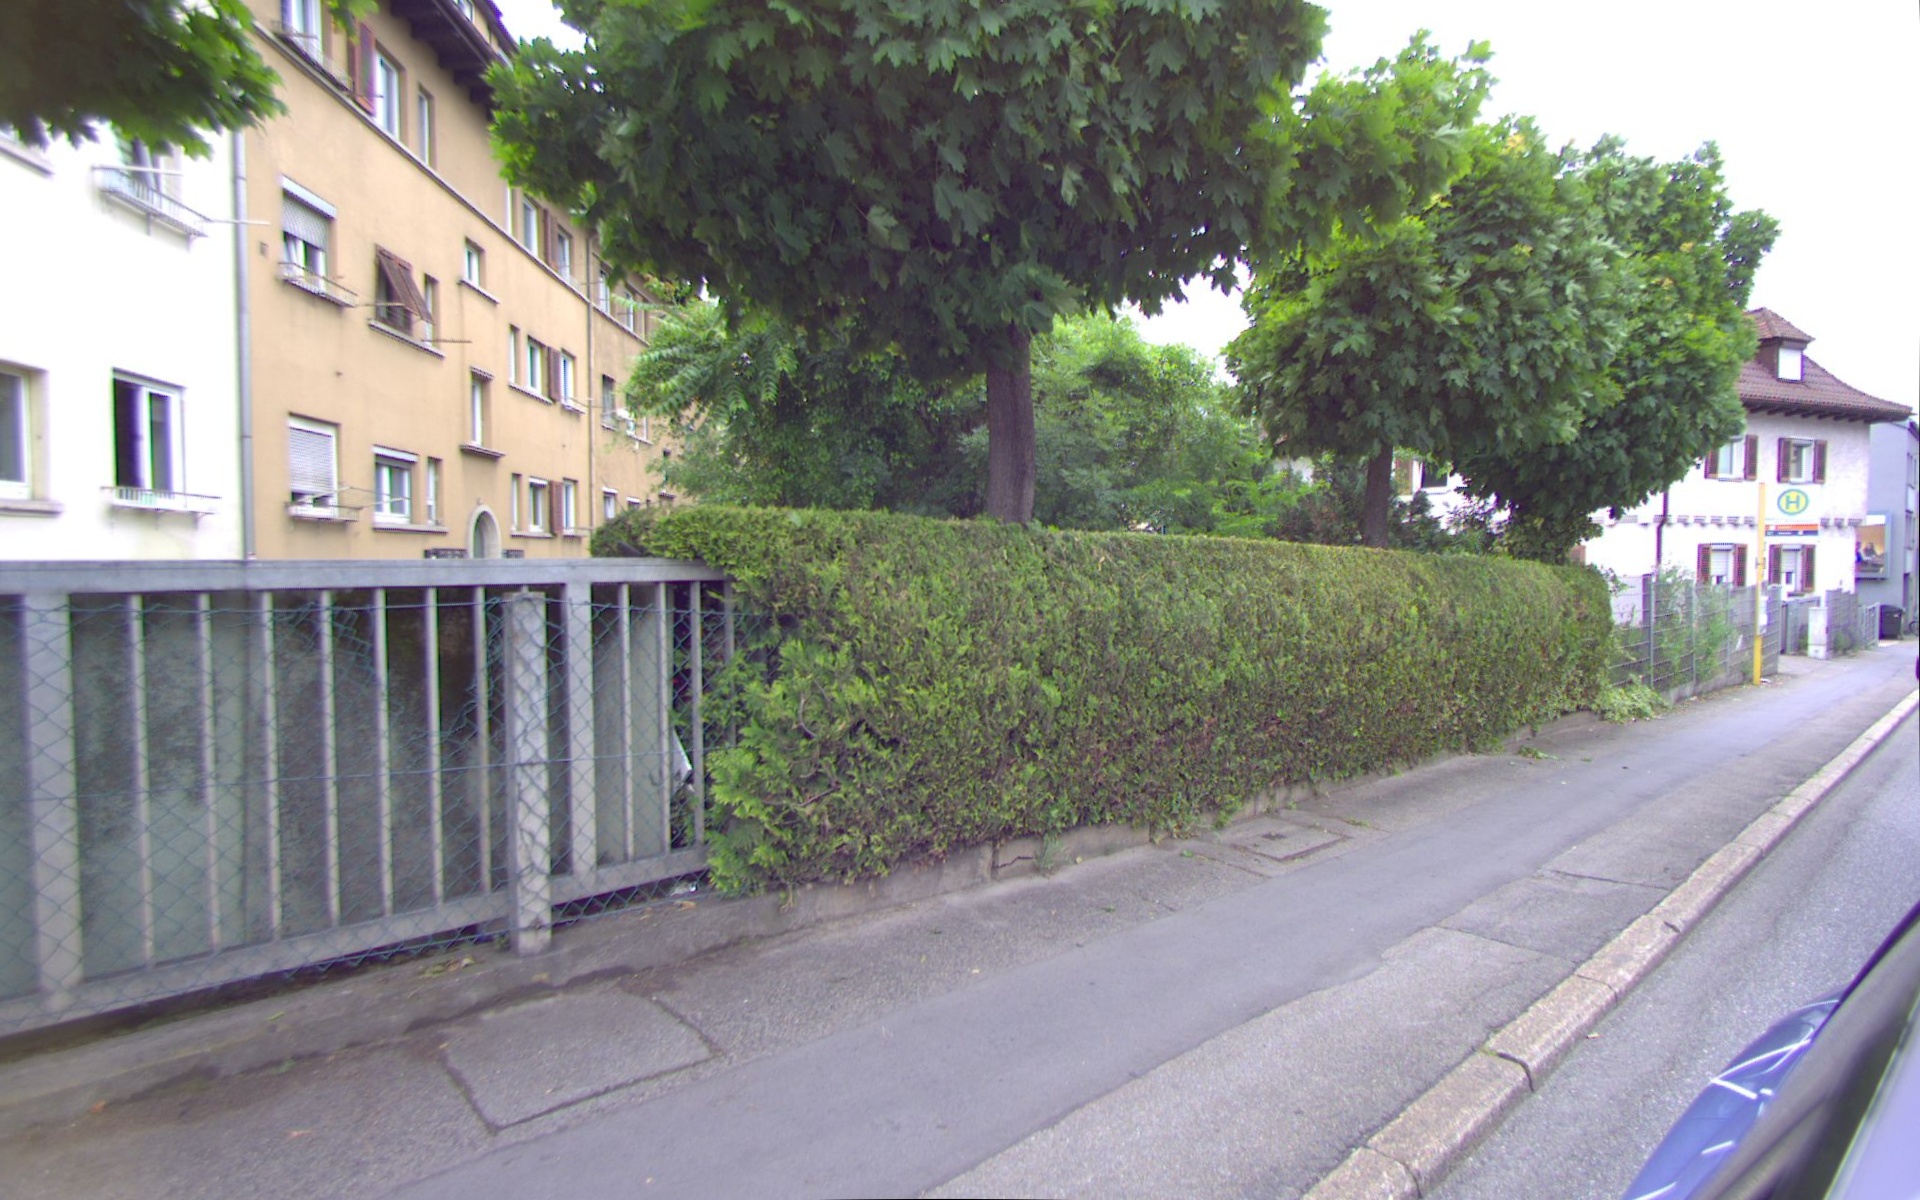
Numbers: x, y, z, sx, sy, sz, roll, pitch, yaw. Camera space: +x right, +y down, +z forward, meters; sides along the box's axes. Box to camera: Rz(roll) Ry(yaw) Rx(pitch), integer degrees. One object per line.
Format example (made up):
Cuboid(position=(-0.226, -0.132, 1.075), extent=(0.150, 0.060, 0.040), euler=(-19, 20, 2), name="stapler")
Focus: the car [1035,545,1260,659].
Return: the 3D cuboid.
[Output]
Cuboid(position=(3.559, 0.022, 19.764), extent=(3.923, 2.039, 2.001), euler=(1, 1, -1), name="car")
